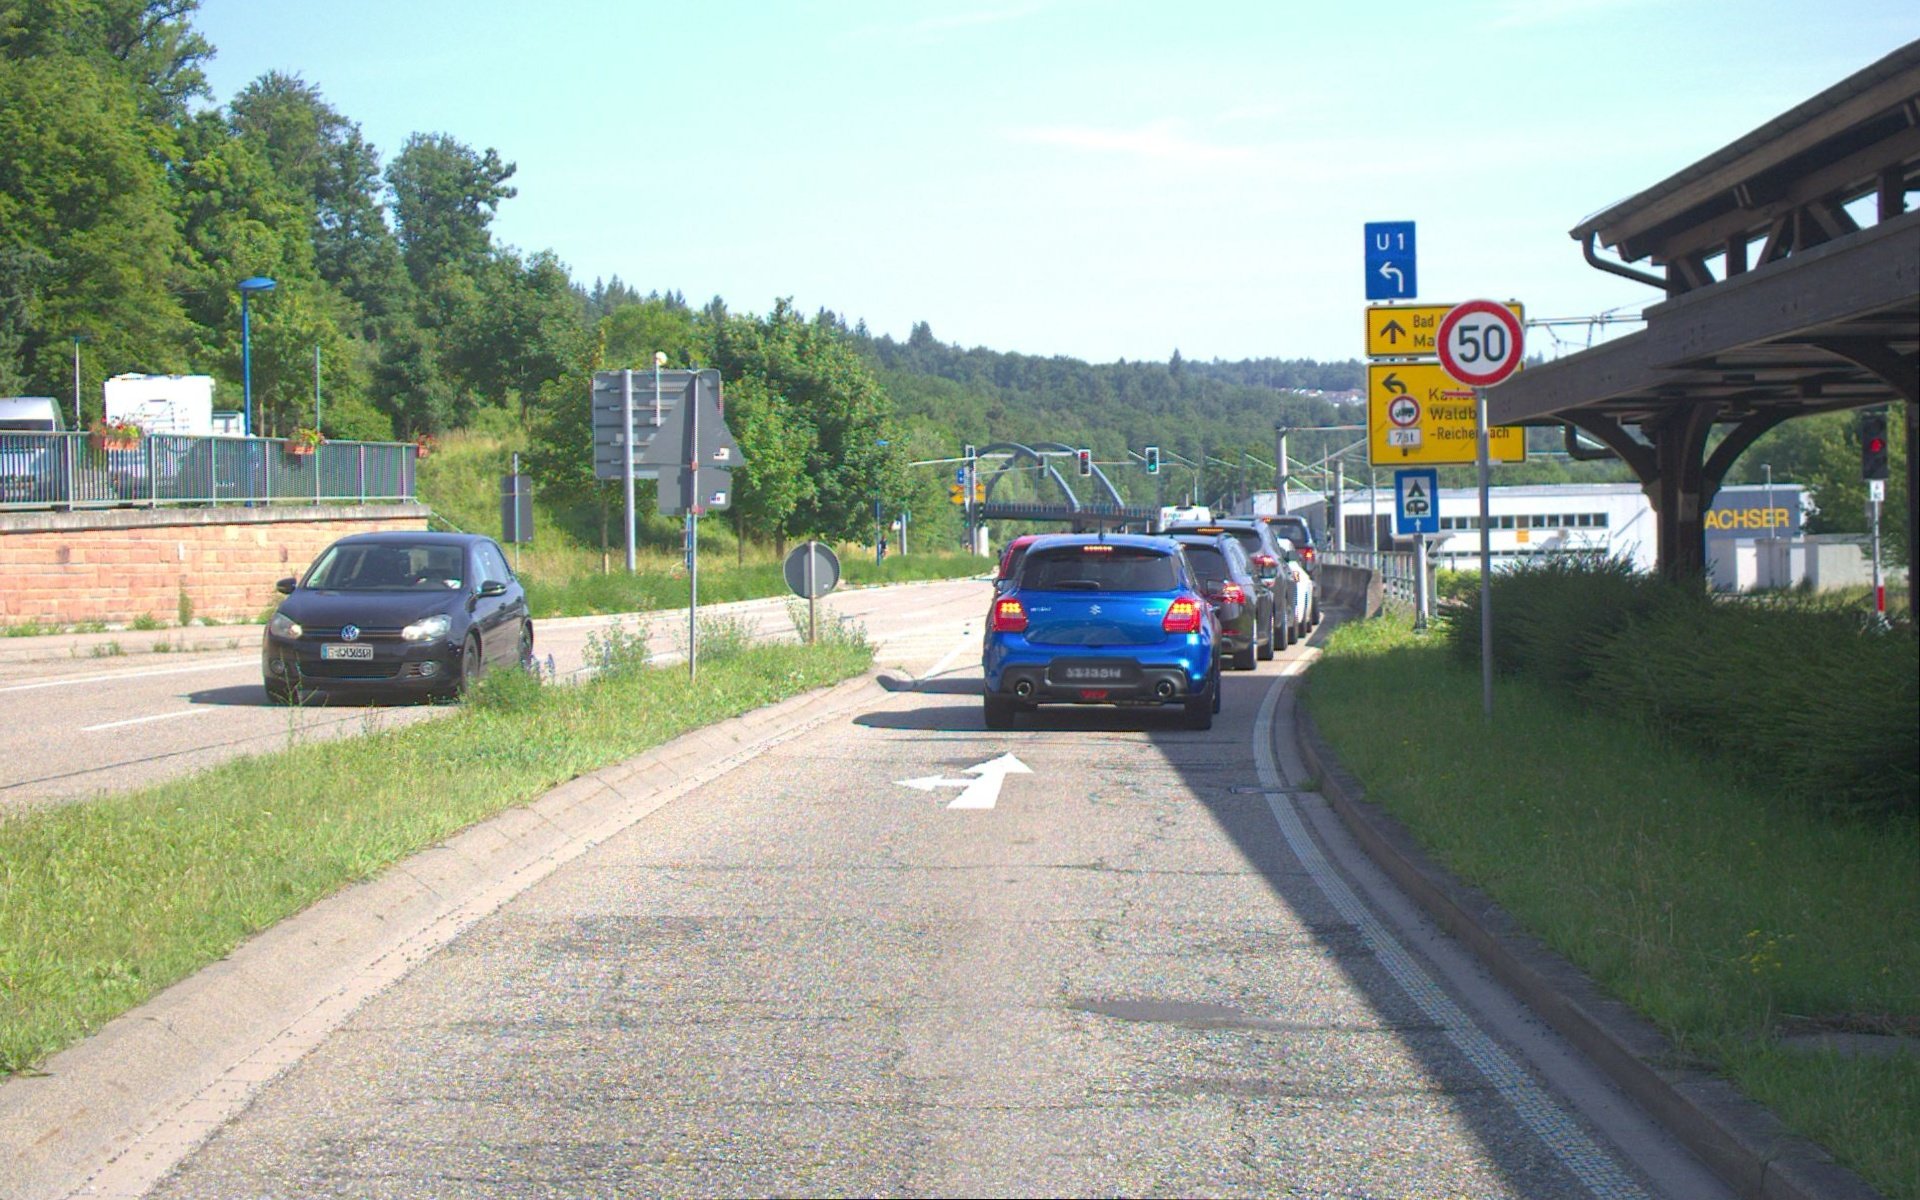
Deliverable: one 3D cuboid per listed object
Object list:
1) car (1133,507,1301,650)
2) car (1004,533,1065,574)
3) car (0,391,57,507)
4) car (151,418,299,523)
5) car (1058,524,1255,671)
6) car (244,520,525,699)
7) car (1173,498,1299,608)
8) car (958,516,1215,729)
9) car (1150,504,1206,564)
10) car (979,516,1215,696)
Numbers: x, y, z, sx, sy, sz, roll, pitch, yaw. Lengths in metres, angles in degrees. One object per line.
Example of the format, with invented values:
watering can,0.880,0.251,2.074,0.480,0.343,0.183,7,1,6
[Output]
car,3.351,-0.313,44.139,1.994,1.681,4.496,2,1,6
car,2.742,-1.720,125.483,1.792,1.465,4.715,1,1,7
car,-21.088,-3.368,76.067,2.092,2.435,5.787,1,2,-15
car,-14.310,-2.535,67.157,2.020,1.913,4.732,2,2,-3
car,2.243,-0.077,38.128,1.994,1.526,4.601,0,1,6
car,-4.980,0.036,30.239,1.745,1.457,4.044,0,1,1
car,4.691,-0.818,58.103,1.994,1.730,3.999,2,1,6
car,1.043,0.119,27.254,1.868,1.543,4.000,1,1,3
car,8.100,-2.433,127.560,1.994,2.137,4.719,1,1,4
car,1.379,0.022,32.914,1.994,1.566,3.999,1,1,6
